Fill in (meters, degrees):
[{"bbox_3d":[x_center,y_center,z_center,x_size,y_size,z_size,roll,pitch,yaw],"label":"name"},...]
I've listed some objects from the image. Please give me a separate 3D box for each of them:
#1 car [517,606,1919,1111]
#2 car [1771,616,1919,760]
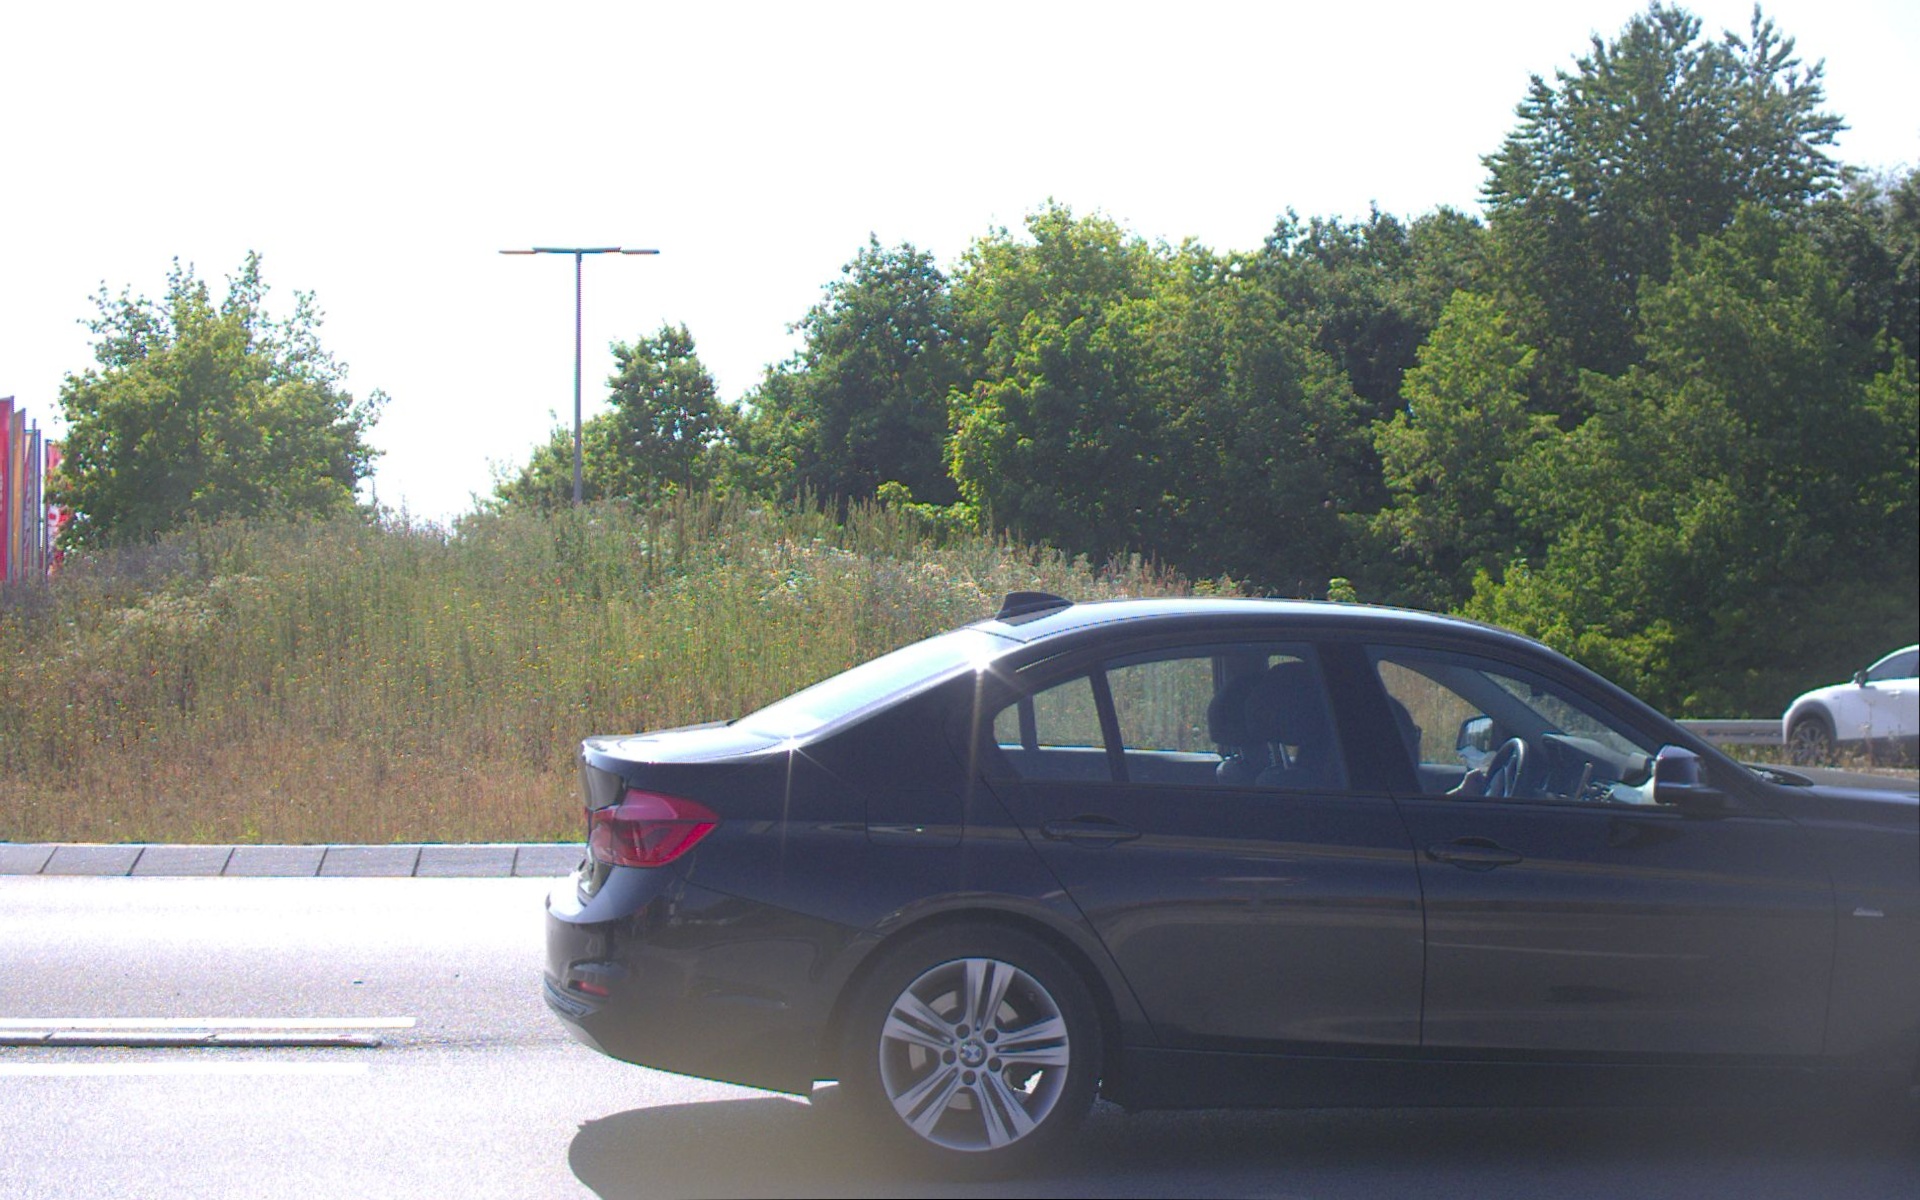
[{"bbox_3d":[0.793,0.644,9.182,3.851,1.178,1.677,1,0,-9],"label":"car"},{"bbox_3d":[10.818,0.948,37.230,1.785,1.525,4.288,0,-2,-22],"label":"car"}]
